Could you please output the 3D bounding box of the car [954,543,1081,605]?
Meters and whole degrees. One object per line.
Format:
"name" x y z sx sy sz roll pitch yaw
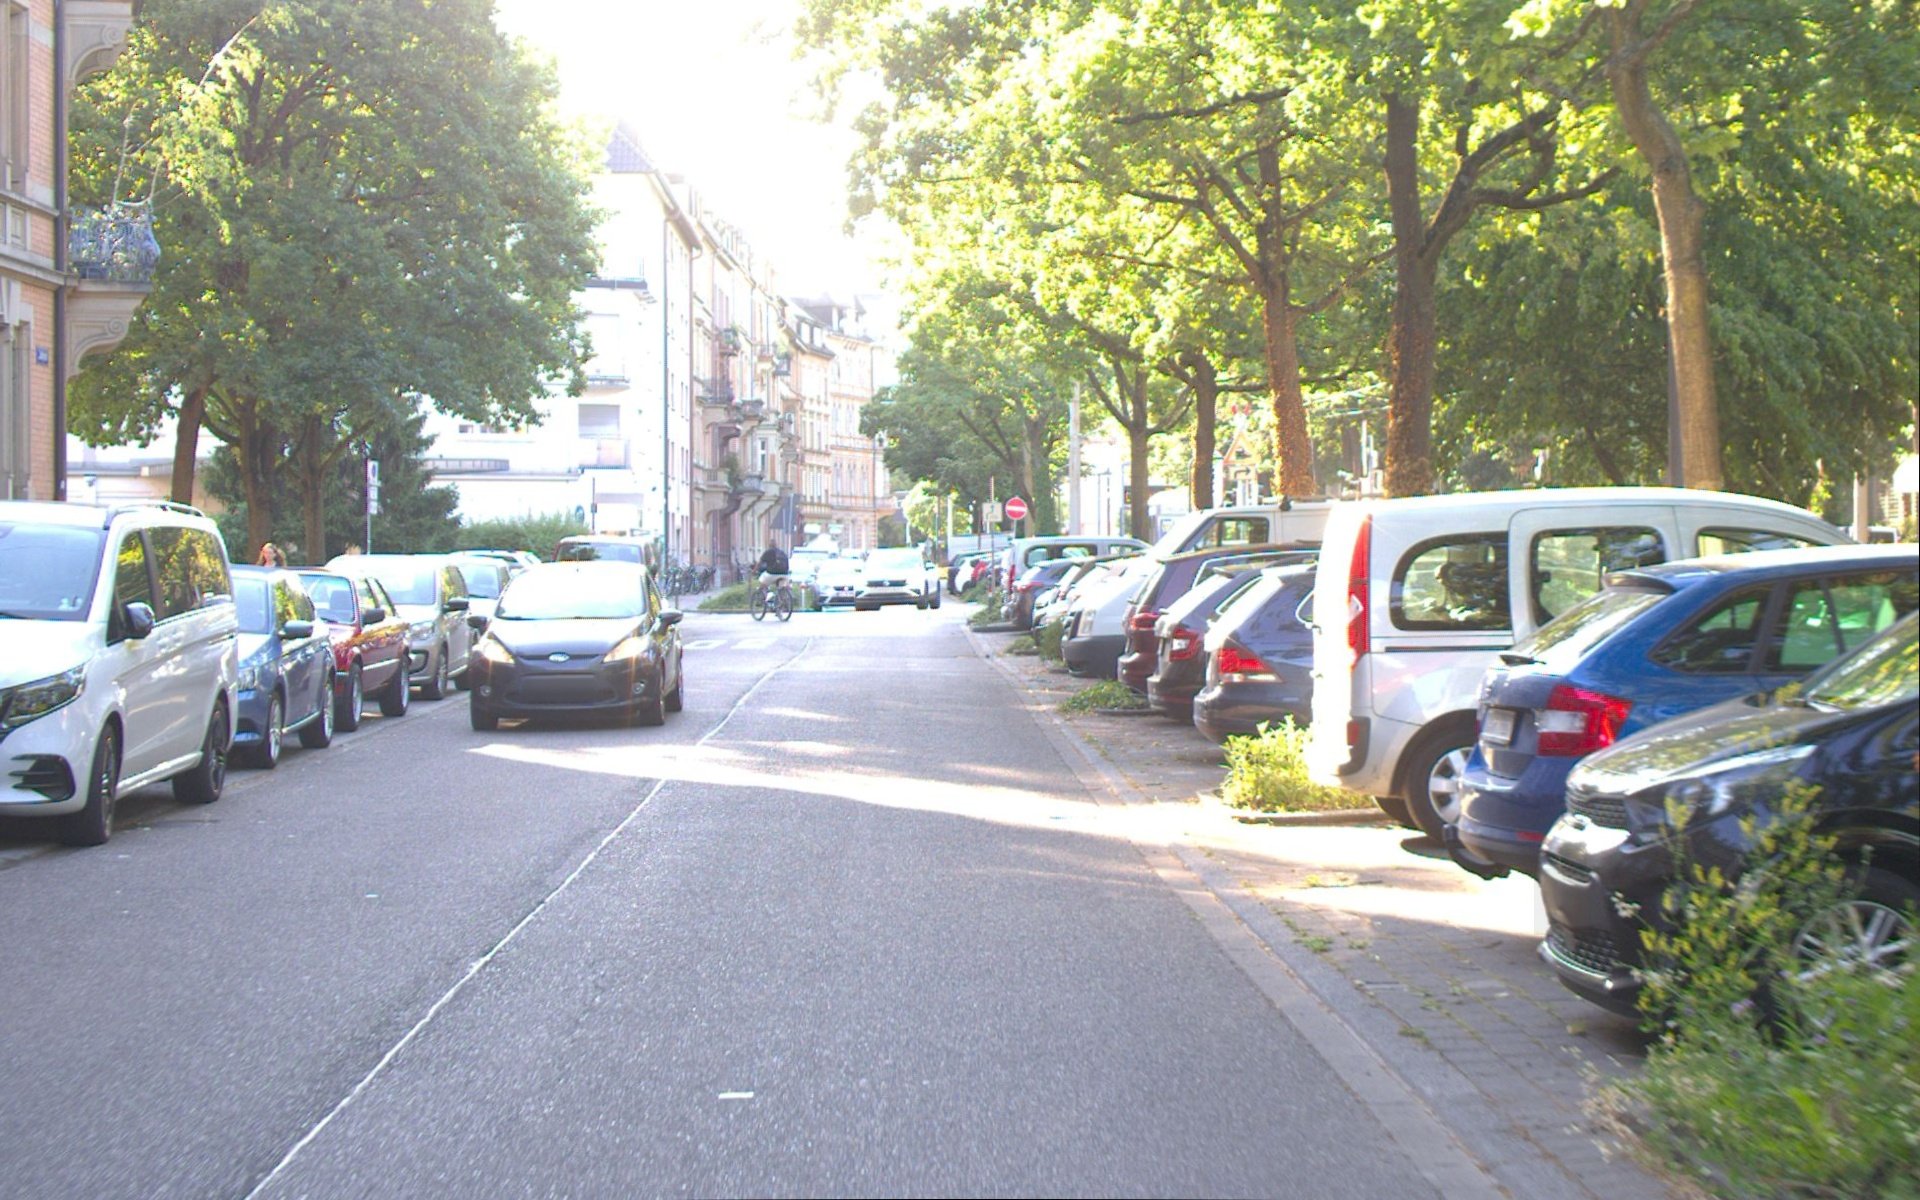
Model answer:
"car" 1.959 -0.872 116.276 3.989 2.007 1.999 1 -1 11

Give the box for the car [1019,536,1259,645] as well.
"car" 3.111 -0.152 60.305 3.986 1.819 1.859 1 -1 -3

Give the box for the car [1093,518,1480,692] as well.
"car" 3.560 0.044 37.937 3.986 1.811 1.859 1 1 -3

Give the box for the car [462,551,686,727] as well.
"car" -3.448 0.303 31.272 1.668 1.459 4.000 -2 1 -2

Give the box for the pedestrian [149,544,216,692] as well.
"pedestrian" -8.938 0.198 39.524 0.597 1.662 0.708 0 3 -1

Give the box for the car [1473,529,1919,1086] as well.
"car" 3.526 0.516 10.309 3.674 1.496 1.762 -2 1 1

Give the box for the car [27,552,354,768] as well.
"car" -5.774 0.394 26.223 1.669 1.481 4.000 1 1 -2

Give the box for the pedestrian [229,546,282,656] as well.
"pedestrian" -10.083 0.010 49.218 0.597 1.545 0.708 0 3 -1

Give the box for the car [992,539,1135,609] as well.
"car" 3.108 -0.763 102.686 3.989 2.007 1.999 1 -1 11

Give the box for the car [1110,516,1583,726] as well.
"car" 3.397 0.170 30.809 3.987 1.685 1.859 -2 1 1

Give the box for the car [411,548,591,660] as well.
"car" -6.273 0.024 47.421 1.756 1.461 4.267 1 1 2

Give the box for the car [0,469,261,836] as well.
"car" -5.624 0.301 20.543 1.993 1.914 5.040 1 -1 -2

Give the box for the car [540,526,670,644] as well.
"car" -6.324 -0.285 61.613 1.957 2.011 4.268 1 1 -1

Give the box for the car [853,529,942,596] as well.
"car" -1.583 -0.978 88.662 1.779 1.668 4.486 1 1 5

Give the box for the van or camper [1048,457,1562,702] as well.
"van or camper" 3.476 -0.188 35.368 4.981 2.369 2.185 1 -1 -2

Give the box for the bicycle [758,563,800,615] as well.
"bicycle" -3.992 -0.242 75.625 0.641 1.096 1.944 1 -1 -11

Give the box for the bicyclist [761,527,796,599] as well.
"bicyclist" -3.995 -0.809 75.673 0.627 1.568 0.802 1 -1 -12

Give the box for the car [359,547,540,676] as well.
"car" -6.306 0.106 42.843 1.756 1.510 4.162 1 1 -2

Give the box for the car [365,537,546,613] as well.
"car" -11.993 -0.585 81.917 3.987 1.700 2.000 1 -1 1

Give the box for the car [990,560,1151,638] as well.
"car" 2.960 -0.024 91.593 3.989 2.007 1.999 1 -1 11

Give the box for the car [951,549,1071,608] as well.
"car" 1.824 -0.769 123.135 3.989 2.007 1.999 1 -1 11

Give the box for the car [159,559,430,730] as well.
"car" -6.005 0.354 31.455 1.670 1.425 4.241 1 1 0

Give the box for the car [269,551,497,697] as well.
"car" -6.131 0.215 36.890 1.704 1.424 3.877 2 1 1

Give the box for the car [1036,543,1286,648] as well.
"car" 3.362 -0.058 58.009 3.986 1.694 1.859 1 -1 -3

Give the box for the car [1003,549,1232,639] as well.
"car" 2.859 -0.089 62.977 3.986 1.558 1.859 1 -1 -3

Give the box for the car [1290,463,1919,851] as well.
"car" 3.965 0.257 18.192 4.220 1.857 1.762 -2 1 1

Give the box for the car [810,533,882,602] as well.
"car" -3.241 -0.894 97.696 1.993 1.832 4.000 1 -1 -2

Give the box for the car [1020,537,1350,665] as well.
"car" 3.103 0.029 47.980 4.389 1.694 1.859 1 -1 -3

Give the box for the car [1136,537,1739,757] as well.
"car" 3.492 0.324 25.734 4.220 1.448 1.865 -2 1 1

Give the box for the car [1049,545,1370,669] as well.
"car" 3.254 0.105 45.365 3.986 1.543 1.859 1 -1 -3

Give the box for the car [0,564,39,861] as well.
"car" -5.543 0.594 15.391 1.674 1.449 4.210 -1 1 0

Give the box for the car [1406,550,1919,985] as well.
"car" 3.873 0.530 12.852 4.081 1.437 1.762 -2 1 -3

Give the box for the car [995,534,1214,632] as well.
"car" 2.729 -0.311 65.648 3.986 1.788 1.859 1 -1 -3

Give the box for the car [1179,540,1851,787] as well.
"car" 3.593 0.398 22.840 4.220 1.448 1.649 -2 1 4
